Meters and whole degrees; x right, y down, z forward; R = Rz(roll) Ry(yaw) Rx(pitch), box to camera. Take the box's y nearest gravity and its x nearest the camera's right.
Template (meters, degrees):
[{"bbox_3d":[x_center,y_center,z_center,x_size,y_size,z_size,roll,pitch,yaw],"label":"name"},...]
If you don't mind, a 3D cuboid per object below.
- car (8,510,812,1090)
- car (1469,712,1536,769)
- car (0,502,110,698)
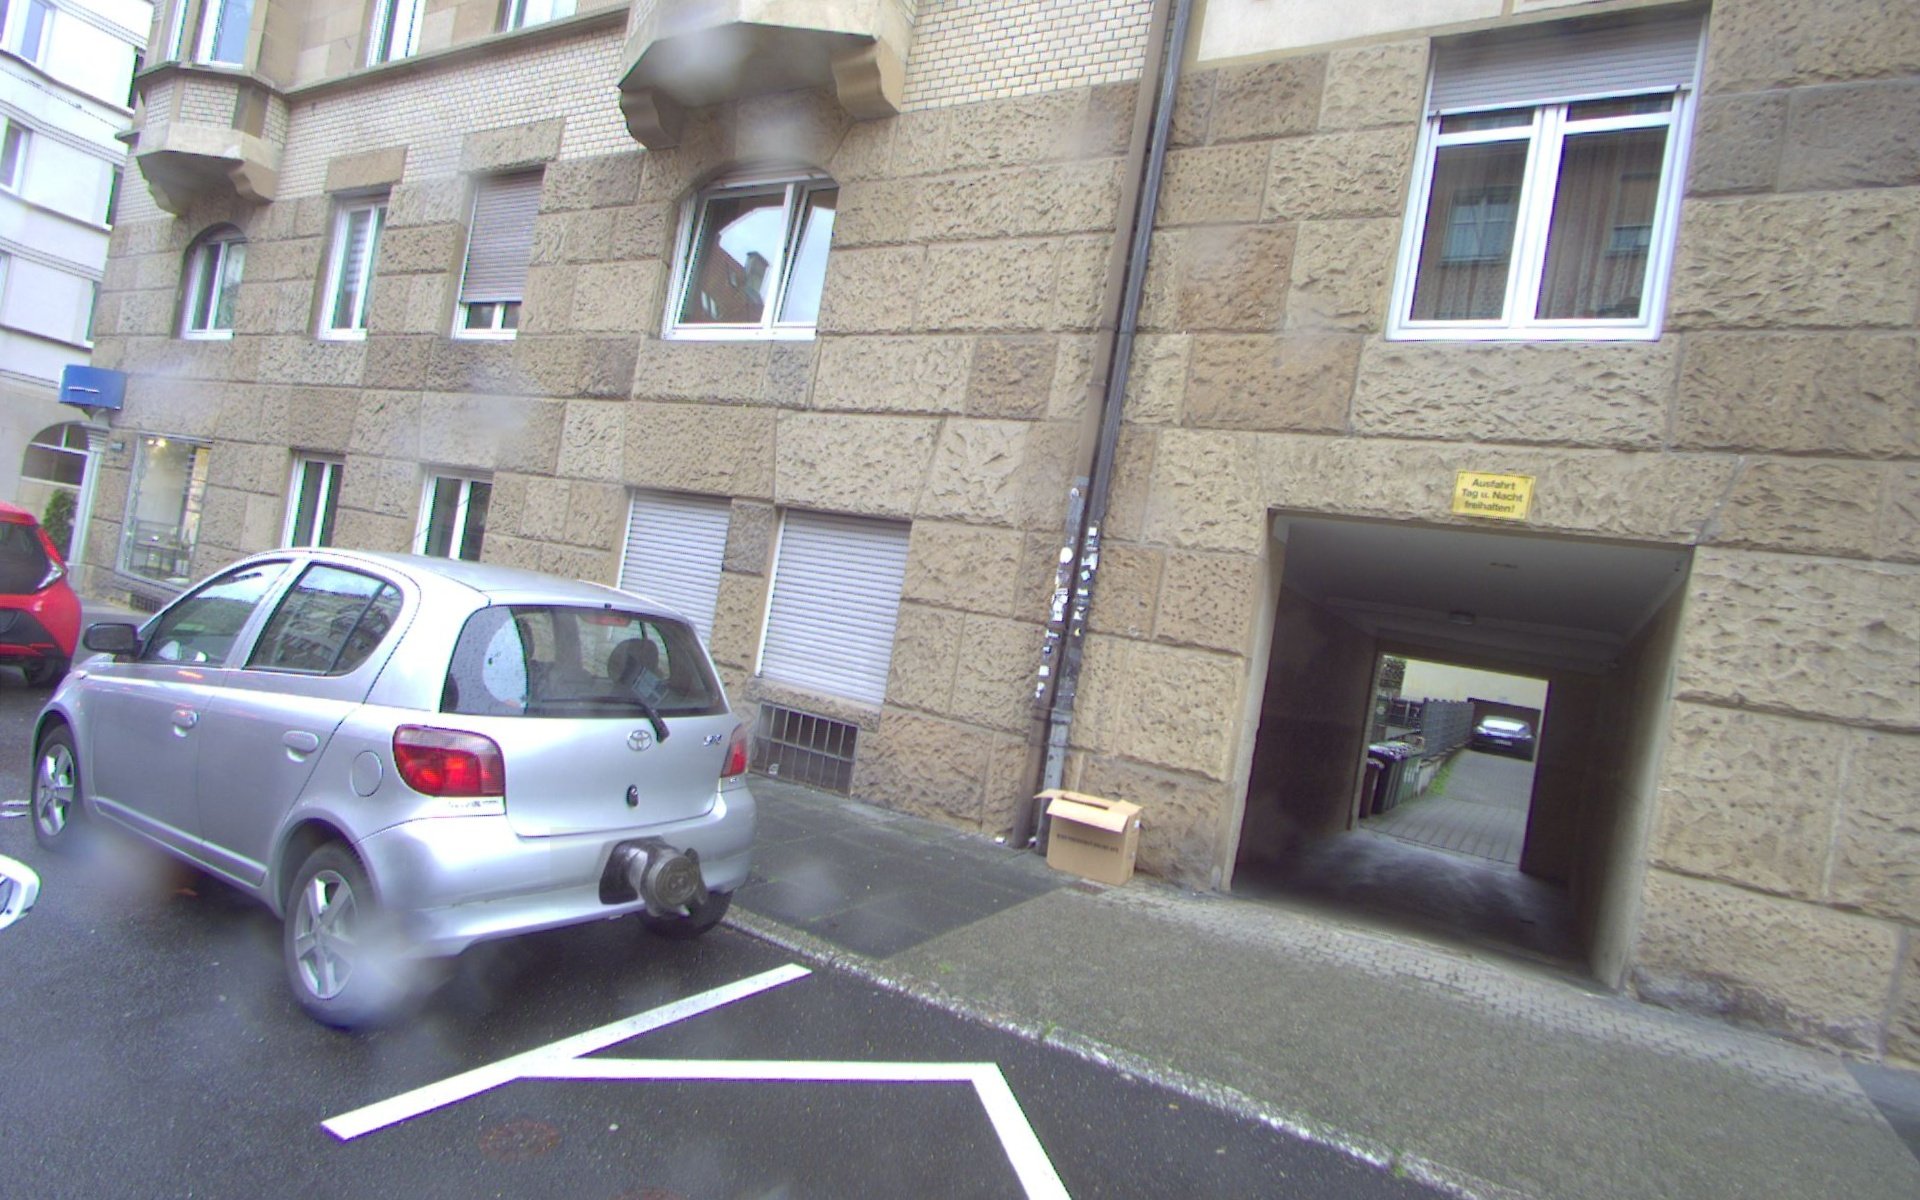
[{"bbox_3d":[-2.489,0.553,4.401,3.258,1.485,1.616,7,-1,33],"label":"car"},{"bbox_3d":[18.335,4.715,33.942,1.693,1.538,4.102,7,-3,31],"label":"car"},{"bbox_3d":[-8.738,-0.193,8.179,3.243,1.464,1.646,7,-2,29],"label":"car"}]
